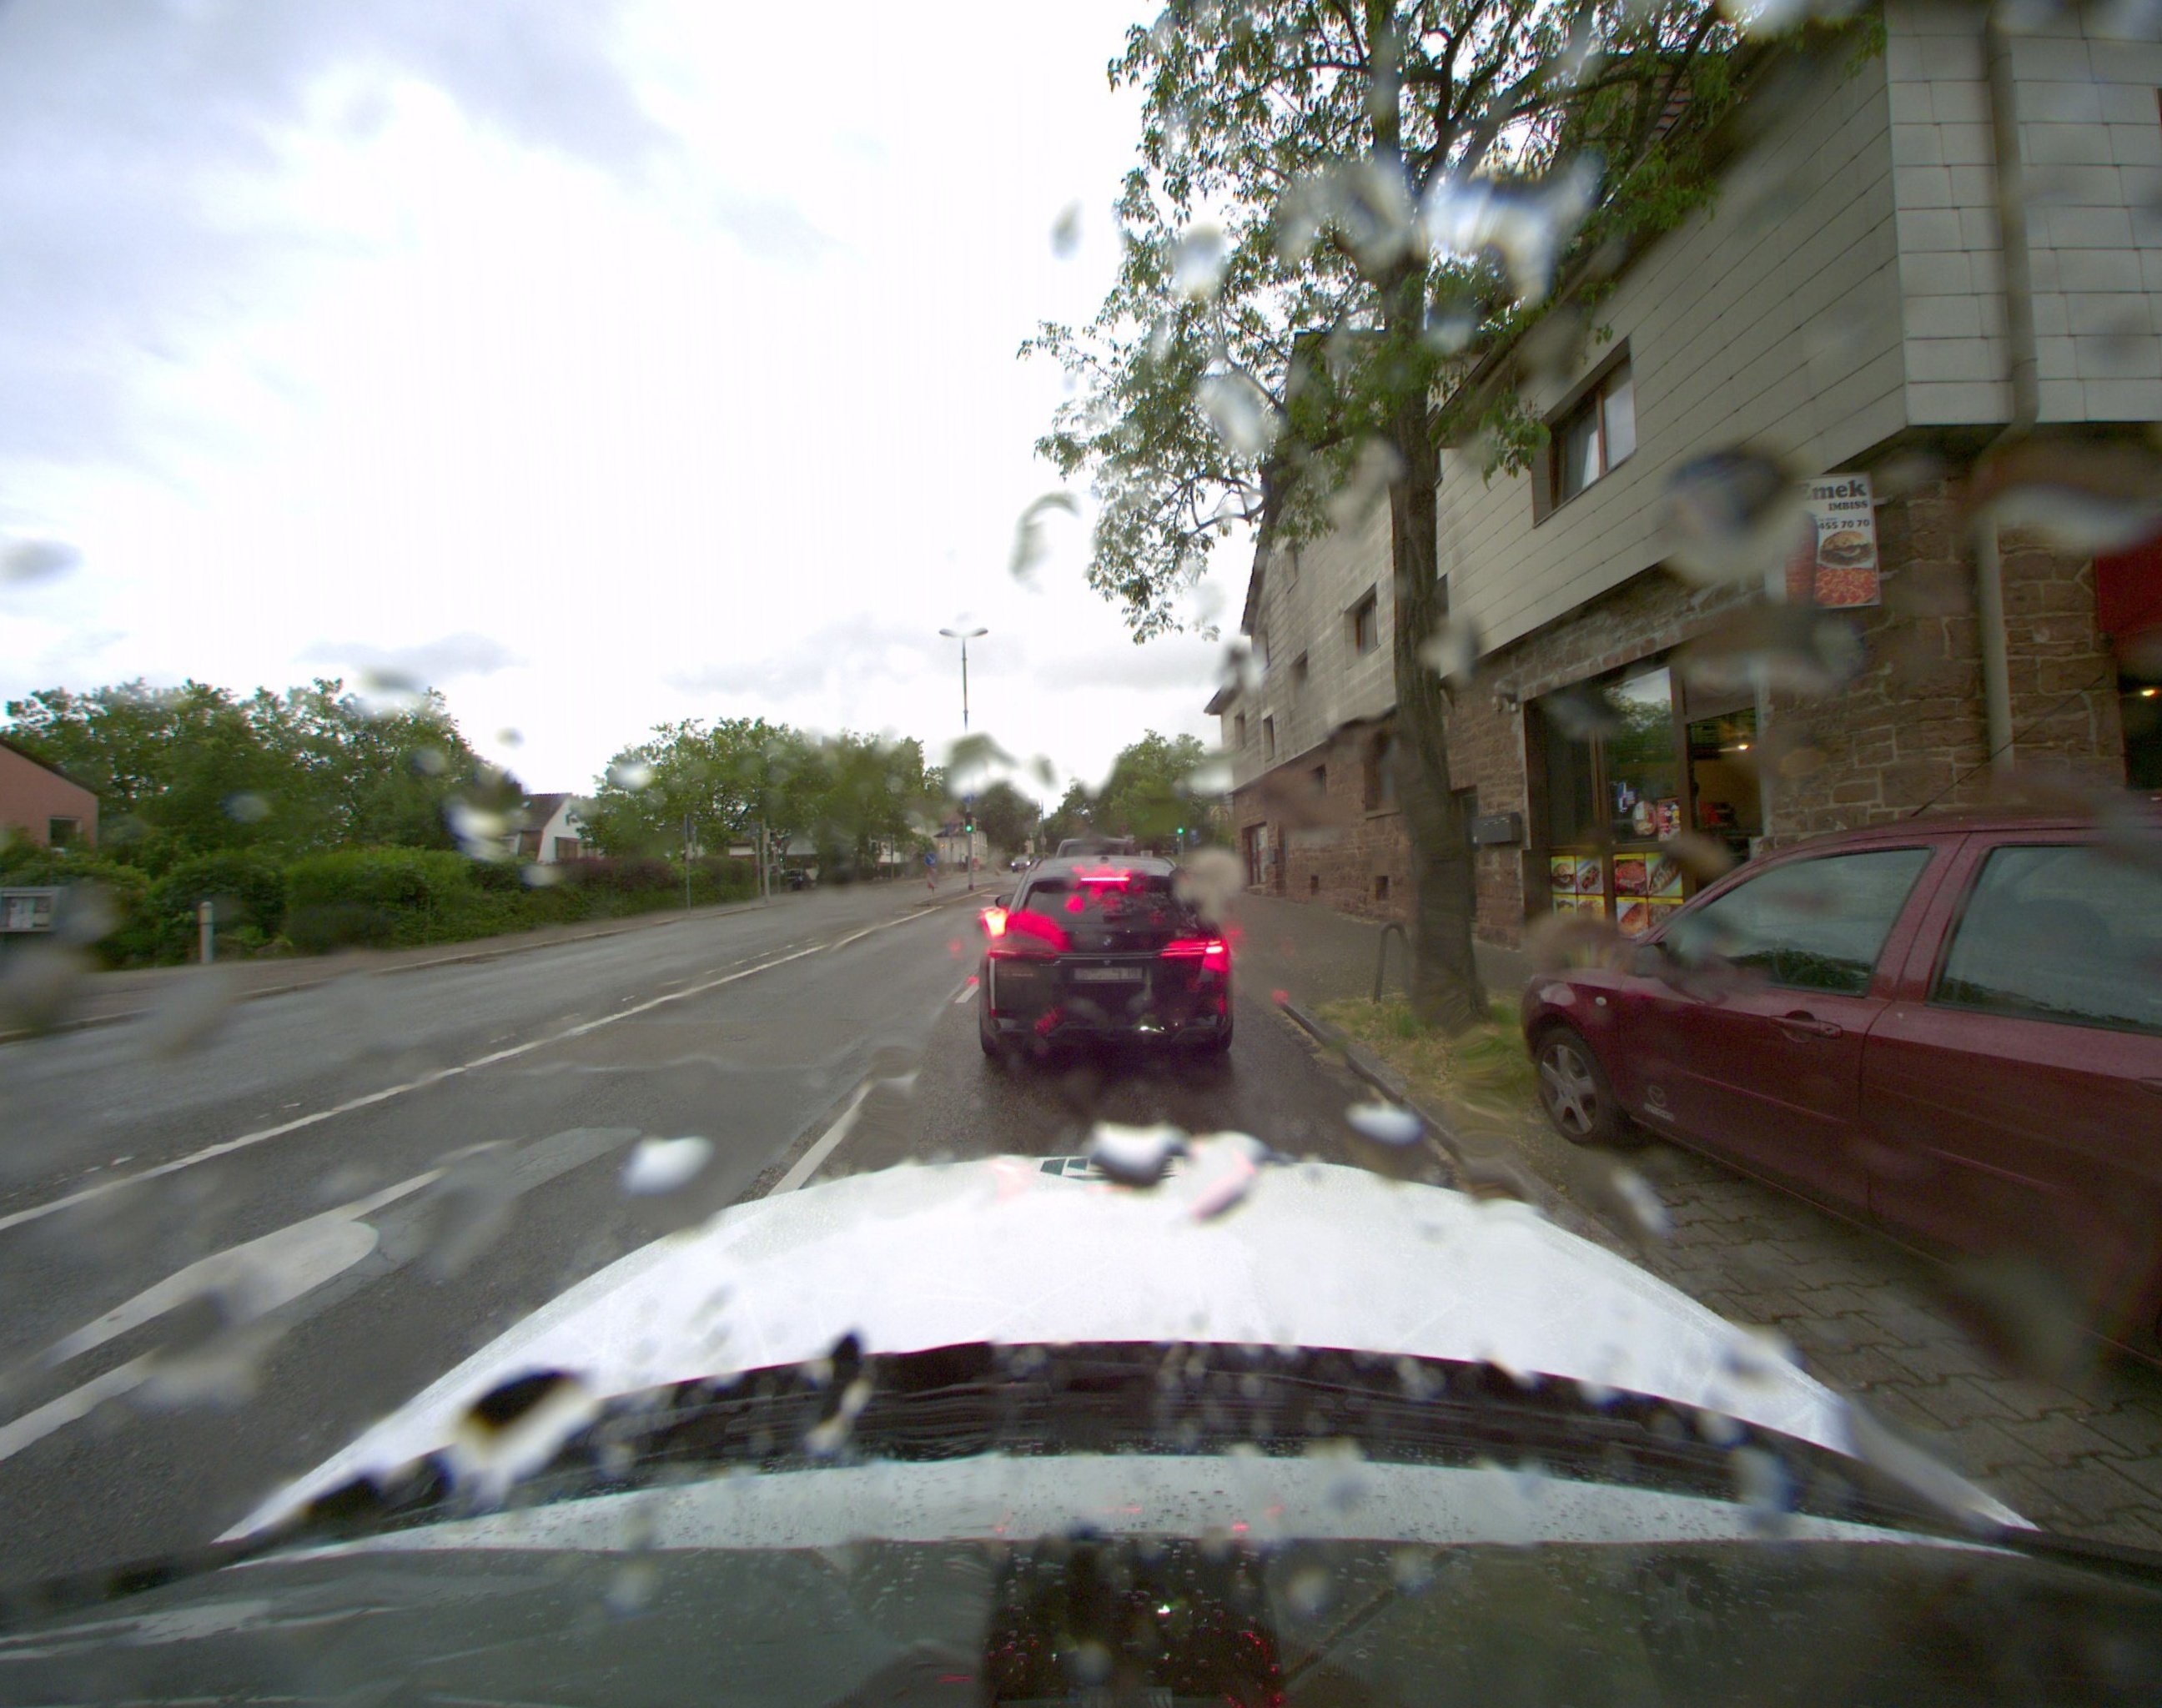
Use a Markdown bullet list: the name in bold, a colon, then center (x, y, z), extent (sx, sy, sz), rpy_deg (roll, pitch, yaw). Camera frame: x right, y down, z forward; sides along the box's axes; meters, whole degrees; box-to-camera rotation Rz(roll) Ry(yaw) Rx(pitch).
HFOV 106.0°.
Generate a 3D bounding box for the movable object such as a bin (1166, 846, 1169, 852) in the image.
- **movable object such as a bin**: center (12.247, -0.698, 115.222), extent (0.446, 0.906, 0.465), rpy_deg (-1, -1, 17)

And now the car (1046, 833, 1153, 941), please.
- **car**: center (0.279, 0.572, 15.665), extent (1.807, 1.809, 3.754), rpy_deg (0, -1, -1)

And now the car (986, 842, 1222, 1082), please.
- **car**: center (0.120, 0.709, 7.028), extent (1.519, 1.534, 3.530), rpy_deg (0, -1, -1)

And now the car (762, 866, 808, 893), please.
- **car**: center (-20.975, 1.781, 57.888), extent (1.803, 1.551, 4.001), rpy_deg (0, 3, 0)

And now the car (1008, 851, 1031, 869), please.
- **car**: center (-5.863, 0.528, 77.847), extent (1.893, 1.577, 4.500), rpy_deg (-2, 1, -1)

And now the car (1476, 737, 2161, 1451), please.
- **car**: center (3.061, 0.535, 2.702), extent (1.606, 1.504, 3.754), rpy_deg (0, -2, -1)

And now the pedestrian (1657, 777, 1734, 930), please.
- **pedestrian**: center (6.851, -0.009, 9.093), extent (0.490, 1.660, 0.455), rpy_deg (0, -1, 1)
